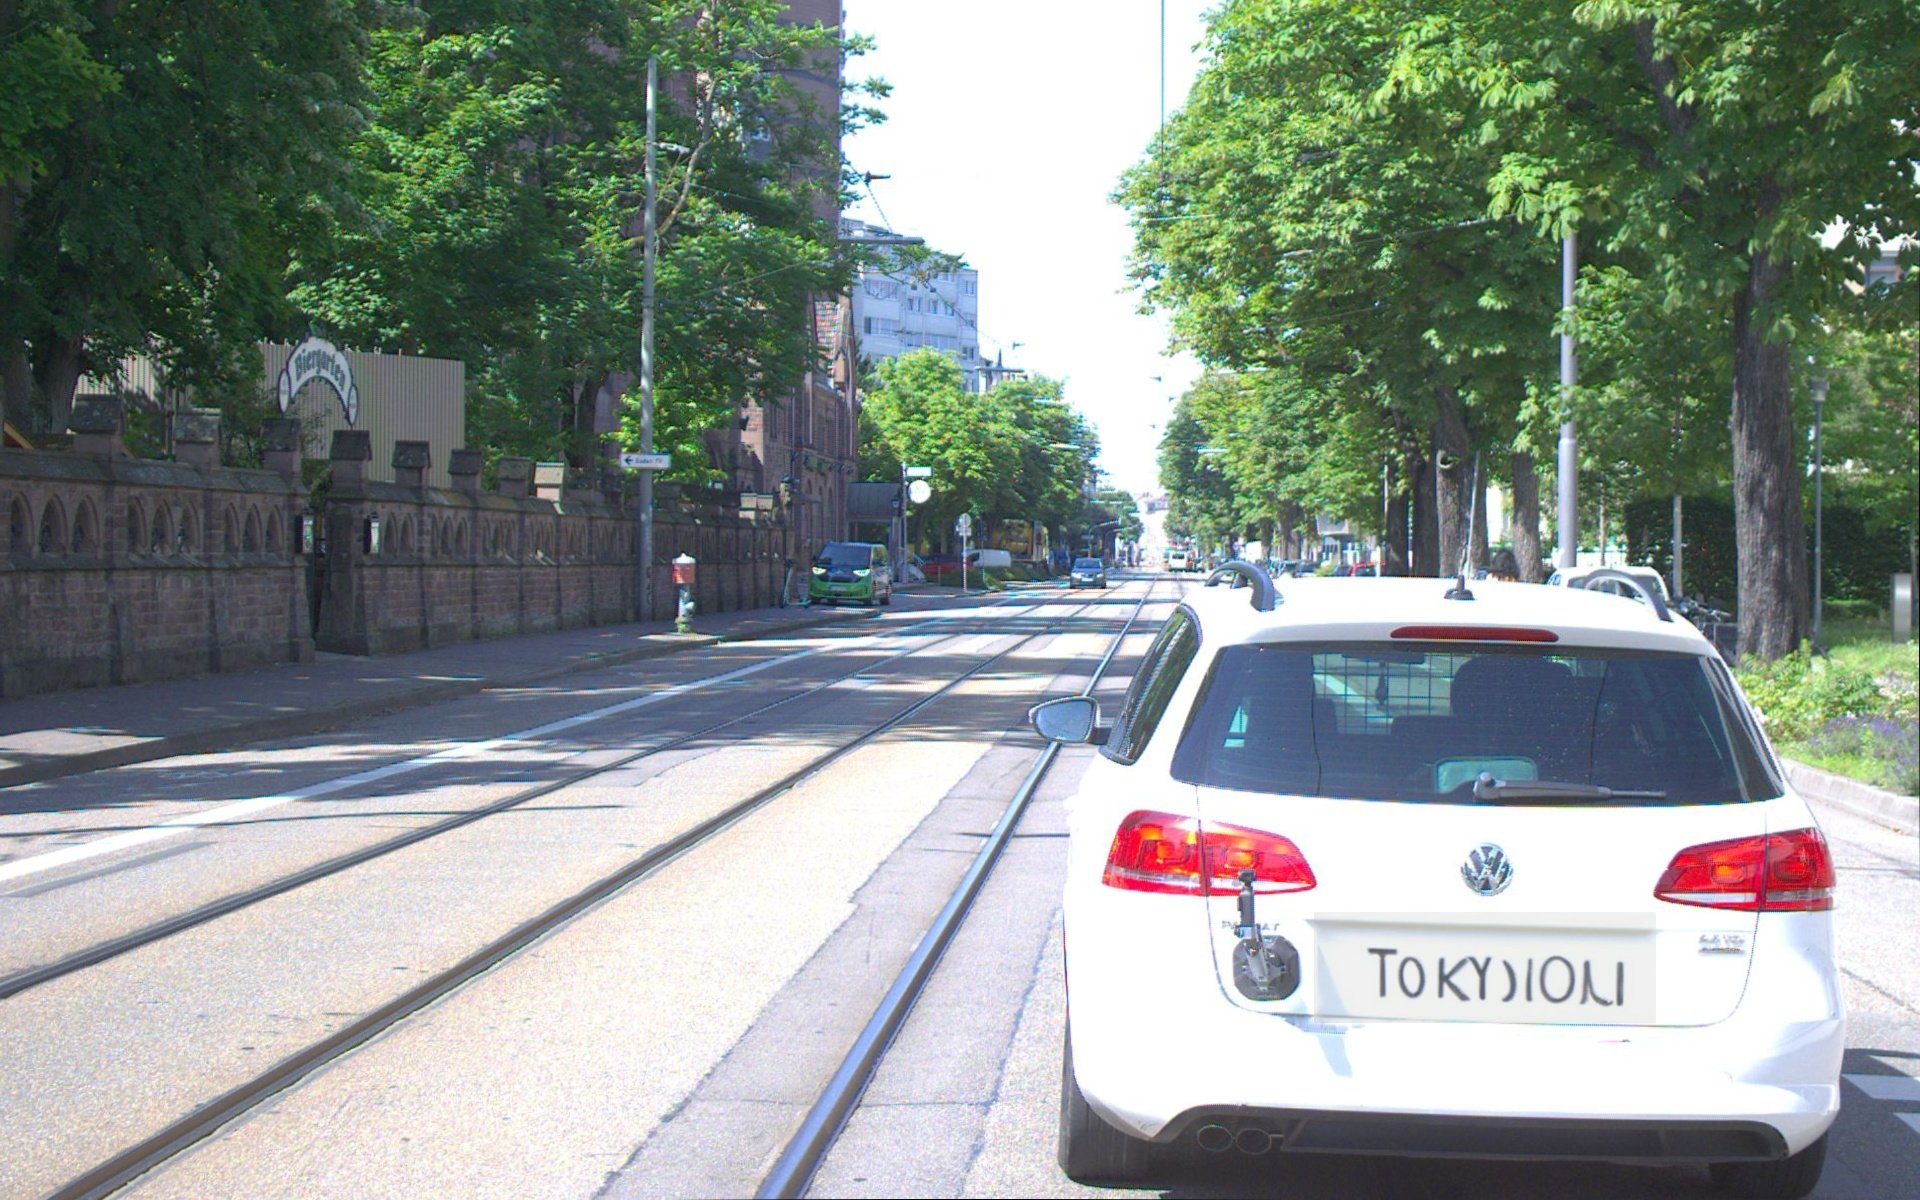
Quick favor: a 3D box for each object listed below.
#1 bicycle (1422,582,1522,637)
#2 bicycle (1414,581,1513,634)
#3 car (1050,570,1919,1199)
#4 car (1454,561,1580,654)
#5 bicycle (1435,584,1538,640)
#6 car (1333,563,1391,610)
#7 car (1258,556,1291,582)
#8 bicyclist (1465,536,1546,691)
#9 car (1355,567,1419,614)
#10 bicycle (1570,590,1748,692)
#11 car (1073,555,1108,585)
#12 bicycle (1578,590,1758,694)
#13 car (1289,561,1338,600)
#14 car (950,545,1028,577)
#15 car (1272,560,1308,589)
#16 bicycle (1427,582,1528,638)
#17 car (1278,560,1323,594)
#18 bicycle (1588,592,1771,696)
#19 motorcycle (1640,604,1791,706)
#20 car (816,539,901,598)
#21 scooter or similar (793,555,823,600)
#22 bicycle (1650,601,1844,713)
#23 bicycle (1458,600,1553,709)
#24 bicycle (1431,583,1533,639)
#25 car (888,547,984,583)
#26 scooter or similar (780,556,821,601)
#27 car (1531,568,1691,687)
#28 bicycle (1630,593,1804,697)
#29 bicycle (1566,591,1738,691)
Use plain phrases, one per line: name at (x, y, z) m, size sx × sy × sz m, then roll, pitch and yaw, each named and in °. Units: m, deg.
bicycle at (9.556, 0.171, 64.156) m, size 1.787 × 1.007 × 0.488 m, roll 0°, pitch 1°, yaw -1°
bicycle at (9.579, 0.143, 65.430) m, size 1.787 × 1.007 × 0.488 m, roll 0°, pitch 1°, yaw -1°
car at (1.157, 0.648, 9.152) m, size 1.754 × 1.437 × 4.412 m, roll 1°, pitch 0°, yaw 2°
car at (9.139, 0.091, 56.692) m, size 1.664 × 1.439 × 4.633 m, roll 0°, pitch 1°, yaw 4°
bicycle at (9.547, 0.210, 62.410) m, size 1.787 × 1.007 × 0.488 m, roll 0°, pitch 1°, yaw -1°
car at (12.354, -0.437, 105.755) m, size 1.714 × 1.396 × 3.842 m, roll 0°, pitch 1°, yaw 6°
car at (17.390, -1.739, 190.191) m, size 1.713 × 1.396 × 3.842 m, roll 0°, pitch 1°, yaw 5°
bicyclist at (5.775, 0.134, 36.424) m, size 0.786 × 1.623 × 0.738 m, roll 0°, pitch 1°, yaw 4°
car at (11.918, -0.286, 95.857) m, size 1.714 × 1.276 × 3.842 m, roll 0°, pitch 1°, yaw 8°
bicycle at (8.152, 0.475, 40.150) m, size 1.911 × 1.079 × 0.551 m, roll 3°, pitch 1°, yaw 2°
car at (6.124, -1.421, 161.385) m, size 1.493 × 1.380 × 3.642 m, roll 0°, pitch 1°, yaw 5°
bicycle at (8.135, 0.477, 39.537) m, size 1.911 × 1.079 × 0.551 m, roll 3°, pitch 1°, yaw 2°
car at (13.078, -0.742, 127.345) m, size 1.713 × 1.396 × 3.842 m, roll 0°, pitch 1°, yaw 5°
car at (1.663, -2.240, 197.697) m, size 3.987 × 1.809 × 2.000 m, roll 0°, pitch 1°, yaw -32°
car at (16.364, -1.261, 170.463) m, size 1.713 × 1.396 × 3.842 m, roll 0°, pitch 1°, yaw 5°
bicycle at (9.564, 0.184, 63.571) m, size 1.787 × 1.007 × 0.488 m, roll 0°, pitch 1°, yaw -1°
car at (14.421, -0.972, 145.669) m, size 1.713 × 1.396 × 3.843 m, roll 0°, pitch 1°, yaw 3°
bicycle at (8.138, 0.492, 38.937) m, size 1.911 × 1.079 × 0.551 m, roll 2°, pitch 1°, yaw 2°
motorcycle at (7.932, 0.574, 36.101) m, size 1.465 × 1.042 × 0.534 m, roll 0°, pitch 1°, yaw 2°
car at (-3.084, -0.971, 105.506) m, size 1.994 × 1.751 × 4.711 m, roll 0°, pitch 1°, yaw 6°
scooter or similar at (-4.108, -0.605, 92.880) m, size 0.423 × 1.196 × 1.142 m, roll 0°, pitch 1°, yaw 19°
bicycle at (7.766, 0.558, 33.955) m, size 1.774 × 1.079 × 0.596 m, roll 0°, pitch 1°, yaw 2°
bicycle at (5.744, 0.554, 36.282) m, size 0.811 × 1.074 × 2.012 m, roll 1°, pitch 1°, yaw 4°
bicycle at (9.553, 0.197, 62.994) m, size 1.787 × 1.007 × 0.488 m, roll 0°, pitch 1°, yaw -1°
car at (-1.151, -1.677, 164.382) m, size 4.116 × 1.525 × 1.933 m, roll 2°, pitch 1°, yaw -17°
scooter or similar at (-4.139, -0.569, 89.323) m, size 0.405 × 1.151 × 1.141 m, roll 1°, pitch 1°, yaw 38°
car at (8.391, 0.318, 44.566) m, size 1.591 × 1.446 × 3.945 m, roll 0°, pitch 1°, yaw 4°
bicycle at (8.287, 0.489, 37.675) m, size 1.774 × 1.116 × 0.596 m, roll 0°, pitch 1°, yaw 2°
bicycle at (8.207, 0.482, 40.790) m, size 1.885 × 1.079 × 0.551 m, roll 3°, pitch 1°, yaw 2°
